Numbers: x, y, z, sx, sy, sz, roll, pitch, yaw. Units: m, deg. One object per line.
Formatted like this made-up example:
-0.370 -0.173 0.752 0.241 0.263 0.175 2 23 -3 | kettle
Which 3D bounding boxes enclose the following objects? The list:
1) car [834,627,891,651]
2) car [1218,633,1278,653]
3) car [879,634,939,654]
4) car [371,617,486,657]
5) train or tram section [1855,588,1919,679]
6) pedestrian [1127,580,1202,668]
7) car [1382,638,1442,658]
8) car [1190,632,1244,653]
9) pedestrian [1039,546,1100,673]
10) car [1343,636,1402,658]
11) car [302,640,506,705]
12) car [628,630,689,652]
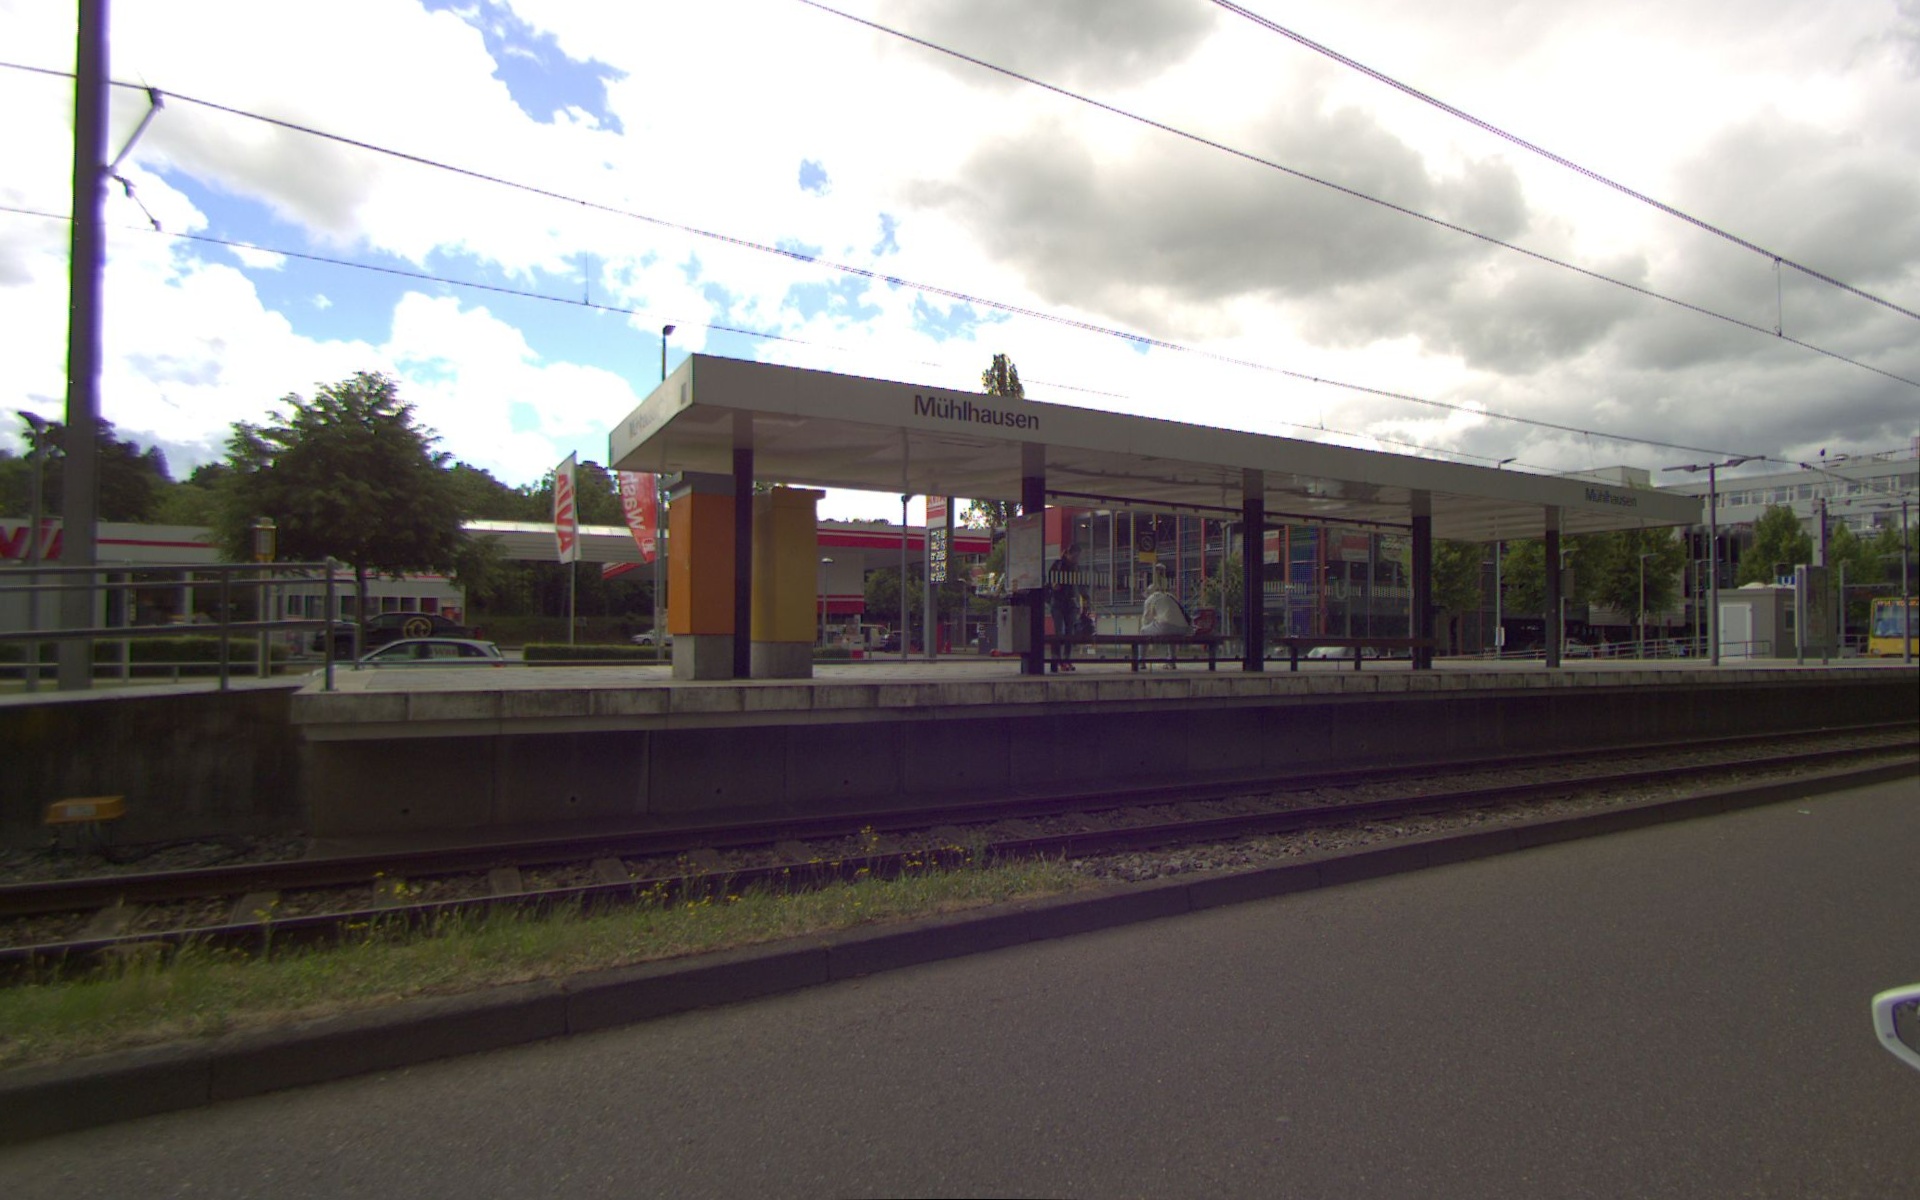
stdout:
-7.506 3.003 77.278 4.015 1.775 1.899 2 -4 -33 | car
19.650 2.947 68.549 3.756 1.327 1.842 2 -4 -31 | car
-3.720 3.265 73.772 4.015 1.383 1.899 2 -4 -33 | car
-19.225 1.350 36.416 3.592 1.367 1.606 2 -2 -29 | car
48.803 1.705 48.436 18.410 3.933 2.744 2 -3 -30 | train or tram section
2.883 0.347 14.205 0.719 1.205 0.766 2 -2 -27 | pedestrian
31.768 3.397 70.615 3.954 1.327 1.984 2 -4 -31 | car
18.149 3.050 71.011 3.519 1.433 1.708 2 -4 -31 | car
1.441 0.141 13.313 0.579 1.641 0.567 2 -3 -31 | pedestrian
30.093 3.440 73.226 3.954 1.492 1.984 2 -4 -31 | car
-12.771 1.637 23.225 3.984 1.367 1.605 2 -2 -31 | car
-24.488 3.336 81.627 4.407 1.728 1.894 3 -4 -40 | car
